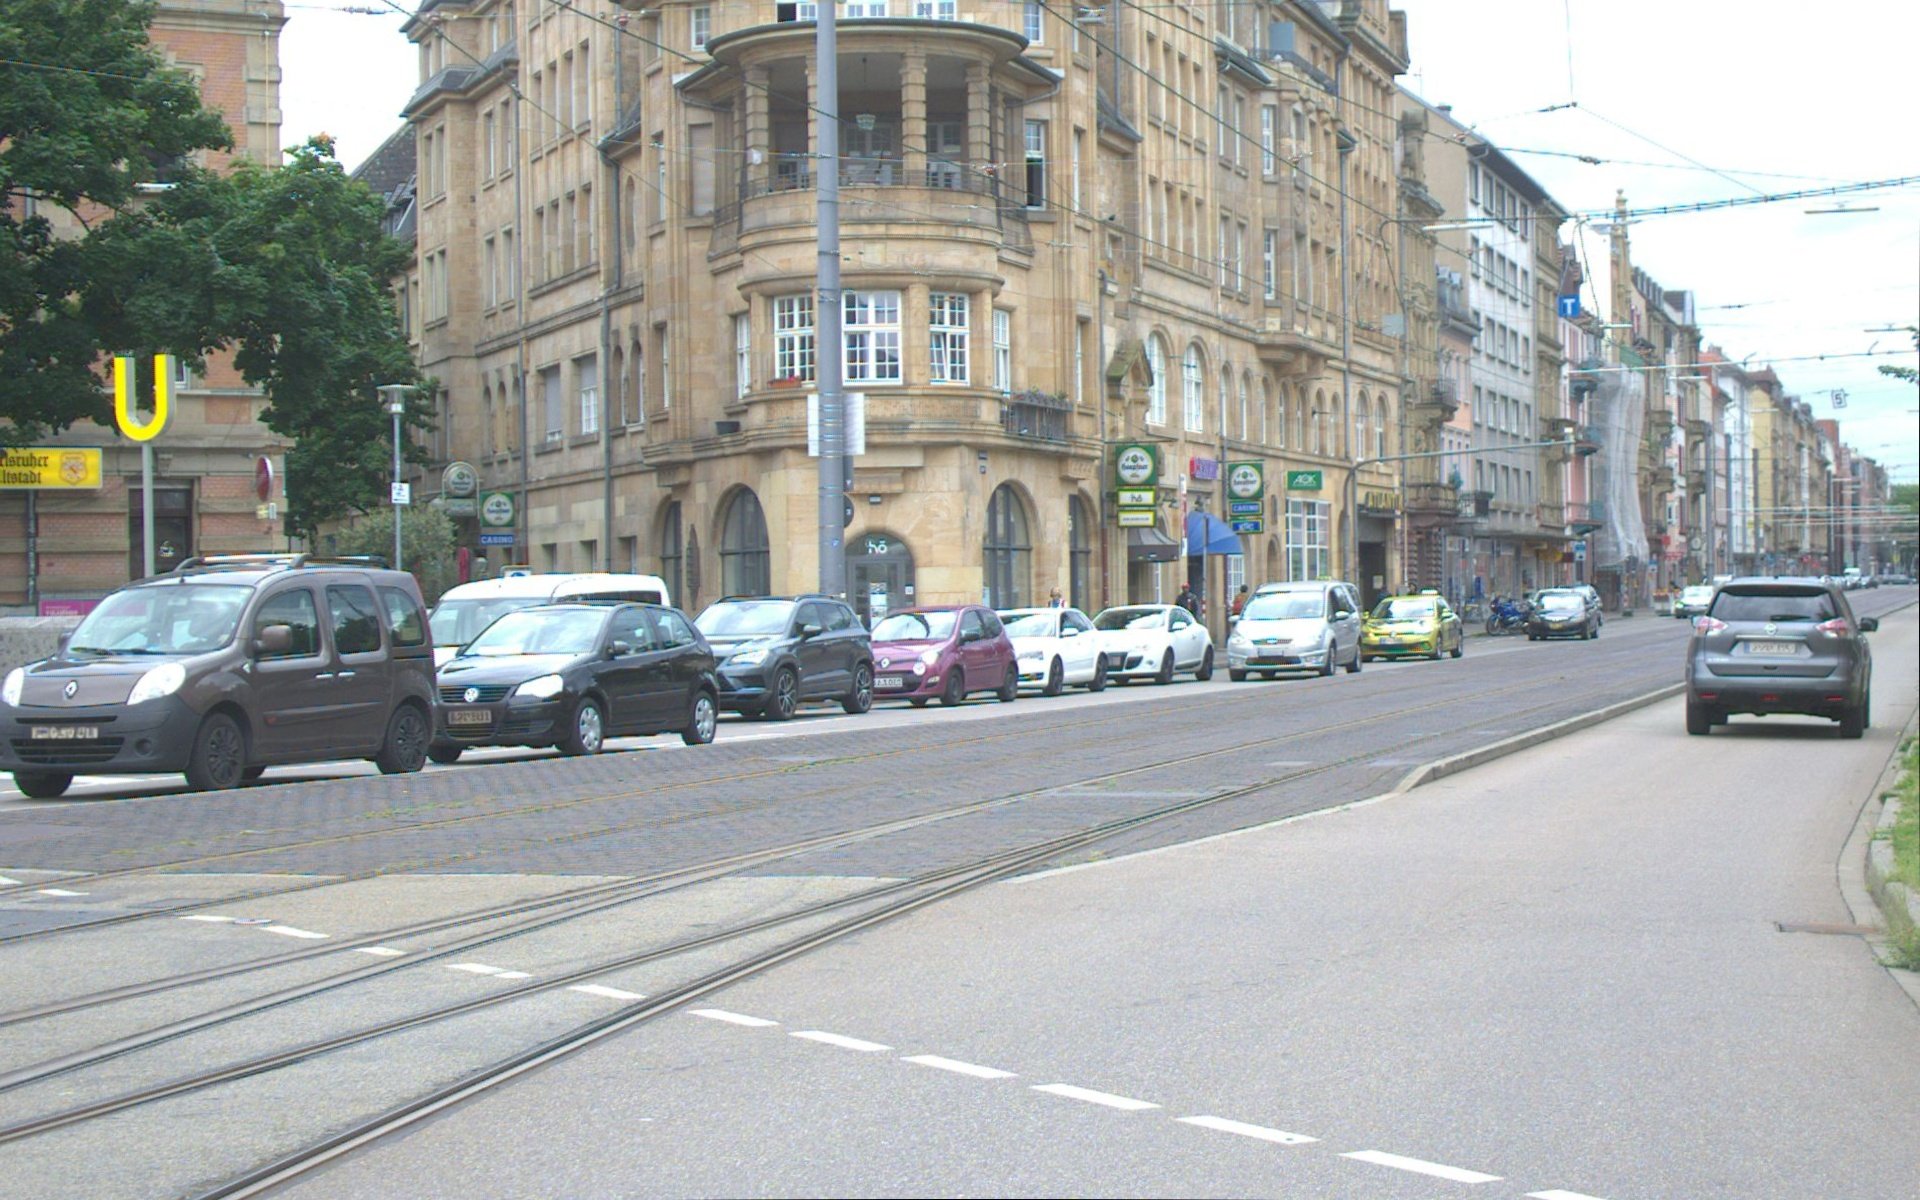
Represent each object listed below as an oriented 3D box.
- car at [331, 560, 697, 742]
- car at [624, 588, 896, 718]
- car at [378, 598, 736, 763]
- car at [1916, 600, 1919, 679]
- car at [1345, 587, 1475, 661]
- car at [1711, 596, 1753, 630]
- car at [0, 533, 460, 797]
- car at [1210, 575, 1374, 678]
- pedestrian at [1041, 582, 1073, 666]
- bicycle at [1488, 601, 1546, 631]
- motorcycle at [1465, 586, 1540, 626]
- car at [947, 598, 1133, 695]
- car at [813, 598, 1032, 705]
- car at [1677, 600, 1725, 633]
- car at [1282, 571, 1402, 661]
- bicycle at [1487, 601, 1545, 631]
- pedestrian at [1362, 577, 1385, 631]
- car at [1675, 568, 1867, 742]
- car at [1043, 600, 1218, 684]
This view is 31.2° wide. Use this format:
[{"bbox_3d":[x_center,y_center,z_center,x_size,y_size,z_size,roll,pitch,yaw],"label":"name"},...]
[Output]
[{"bbox_3d":[-4.929,0.523,38.789,1.865,1.909,5.095,-1,0,21],"label":"car"},{"bbox_3d":[-2.532,0.663,44.671,1.865,1.529,4.297,-3,-1,21],"label":"car"},{"bbox_3d":[-3.700,0.715,32.253,1.690,1.437,3.996,-1,0,20],"label":"car"},{"bbox_3d":[18.227,0.679,62.297,1.638,1.429,3.928,-3,0,16],"label":"car"},{"bbox_3d":[10.068,0.513,76.725,1.901,1.506,4.423,-2,0,20],"label":"car"},{"bbox_3d":[39.162,0.657,174.352,1.760,1.666,4.610,-1,0,17],"label":"car"},{"bbox_3d":[-5.751,0.471,27.034,1.690,1.894,4.382,-1,0,20],"label":"car"},{"bbox_3d":[5.949,0.444,61.077,1.864,1.700,4.905,-2,0,18],"label":"car"},{"bbox_3d":[1.979,0.486,69.933,0.630,1.713,0.533,-1,0,3],"label":"pedestrian"},{"bbox_3d":[19.047,0.553,117.542,1.967,0.998,0.463,-1,0,9],"label":"bicycle"},{"bbox_3d":[18.113,0.189,114.797,2.335,1.298,0.884,-1,0,-19],"label":"motorcycle"},{"bbox_3d":[1.320,0.722,54.897,1.748,1.375,4.358,-3,-1,18],"label":"car"},{"bbox_3d":[-0.497,0.720,49.659,1.865,1.394,3.891,-3,-1,20],"label":"car"},{"bbox_3d":[33.356,0.723,154.688,1.760,1.444,4.610,-1,0,17],"label":"car"},{"bbox_3d":[9.071,0.362,81.280,1.900,1.970,5.093,-3,0,16],"label":"car"},{"bbox_3d":[18.905,0.541,116.910,1.922,0.998,0.463,-1,0,9],"label":"bicycle"},{"bbox_3d":[12.291,0.129,102.164,0.568,1.592,0.718,-1,0,16],"label":"pedestrian"},{"bbox_3d":[8.829,0.548,37.232,1.751,1.750,3.920,1,1,17],"label":"car"},{"bbox_3d":[3.030,0.719,60.270,1.928,1.375,4.254,-1,0,20],"label":"car"}]
